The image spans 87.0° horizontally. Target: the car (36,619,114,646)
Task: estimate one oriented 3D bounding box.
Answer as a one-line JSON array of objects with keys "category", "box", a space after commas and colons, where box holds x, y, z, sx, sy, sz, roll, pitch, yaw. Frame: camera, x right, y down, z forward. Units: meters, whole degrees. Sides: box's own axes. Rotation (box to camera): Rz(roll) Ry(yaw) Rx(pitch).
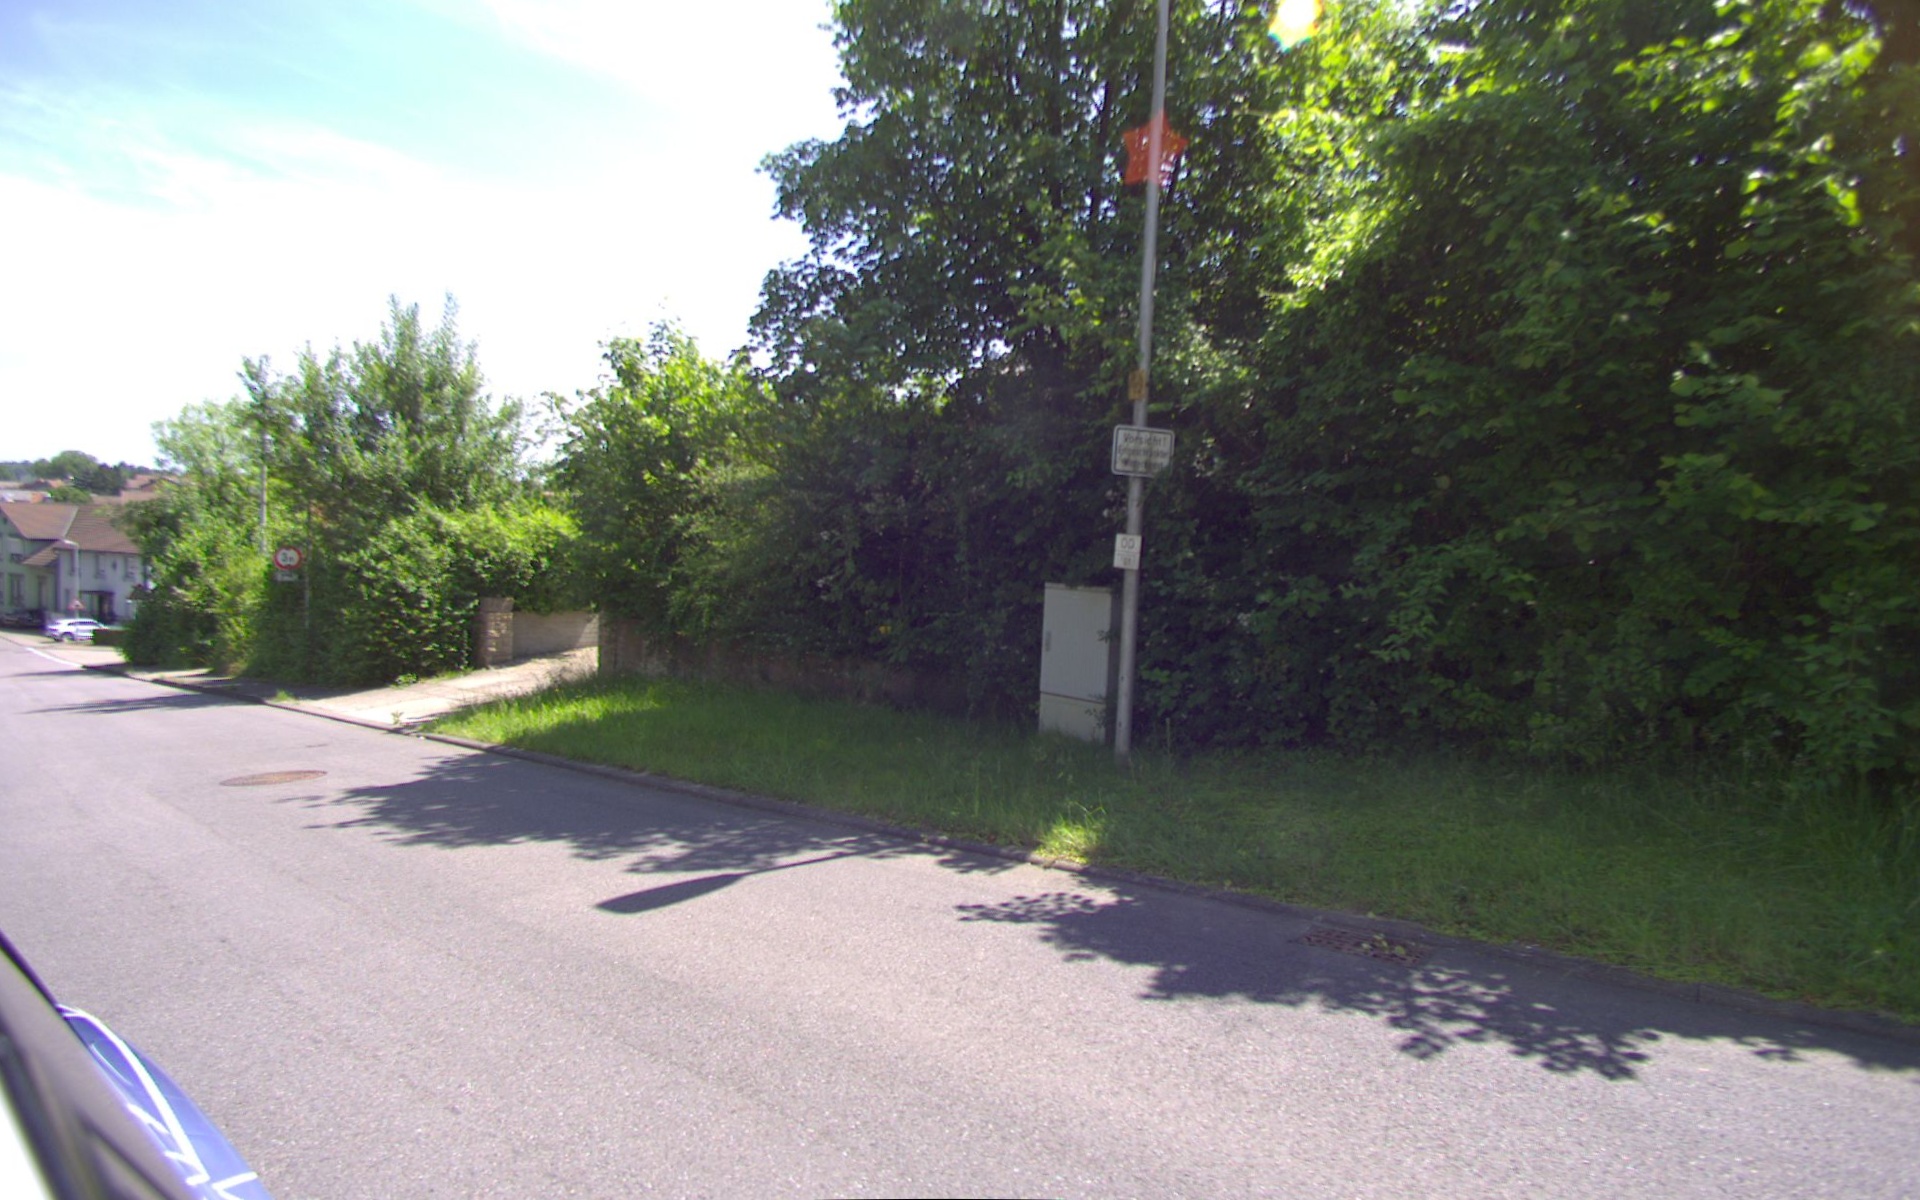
[{"category": "car", "box": [-58.868, 2.144, 67.364, 1.511, 1.395, 3.544, 0, 4, 32]}]
